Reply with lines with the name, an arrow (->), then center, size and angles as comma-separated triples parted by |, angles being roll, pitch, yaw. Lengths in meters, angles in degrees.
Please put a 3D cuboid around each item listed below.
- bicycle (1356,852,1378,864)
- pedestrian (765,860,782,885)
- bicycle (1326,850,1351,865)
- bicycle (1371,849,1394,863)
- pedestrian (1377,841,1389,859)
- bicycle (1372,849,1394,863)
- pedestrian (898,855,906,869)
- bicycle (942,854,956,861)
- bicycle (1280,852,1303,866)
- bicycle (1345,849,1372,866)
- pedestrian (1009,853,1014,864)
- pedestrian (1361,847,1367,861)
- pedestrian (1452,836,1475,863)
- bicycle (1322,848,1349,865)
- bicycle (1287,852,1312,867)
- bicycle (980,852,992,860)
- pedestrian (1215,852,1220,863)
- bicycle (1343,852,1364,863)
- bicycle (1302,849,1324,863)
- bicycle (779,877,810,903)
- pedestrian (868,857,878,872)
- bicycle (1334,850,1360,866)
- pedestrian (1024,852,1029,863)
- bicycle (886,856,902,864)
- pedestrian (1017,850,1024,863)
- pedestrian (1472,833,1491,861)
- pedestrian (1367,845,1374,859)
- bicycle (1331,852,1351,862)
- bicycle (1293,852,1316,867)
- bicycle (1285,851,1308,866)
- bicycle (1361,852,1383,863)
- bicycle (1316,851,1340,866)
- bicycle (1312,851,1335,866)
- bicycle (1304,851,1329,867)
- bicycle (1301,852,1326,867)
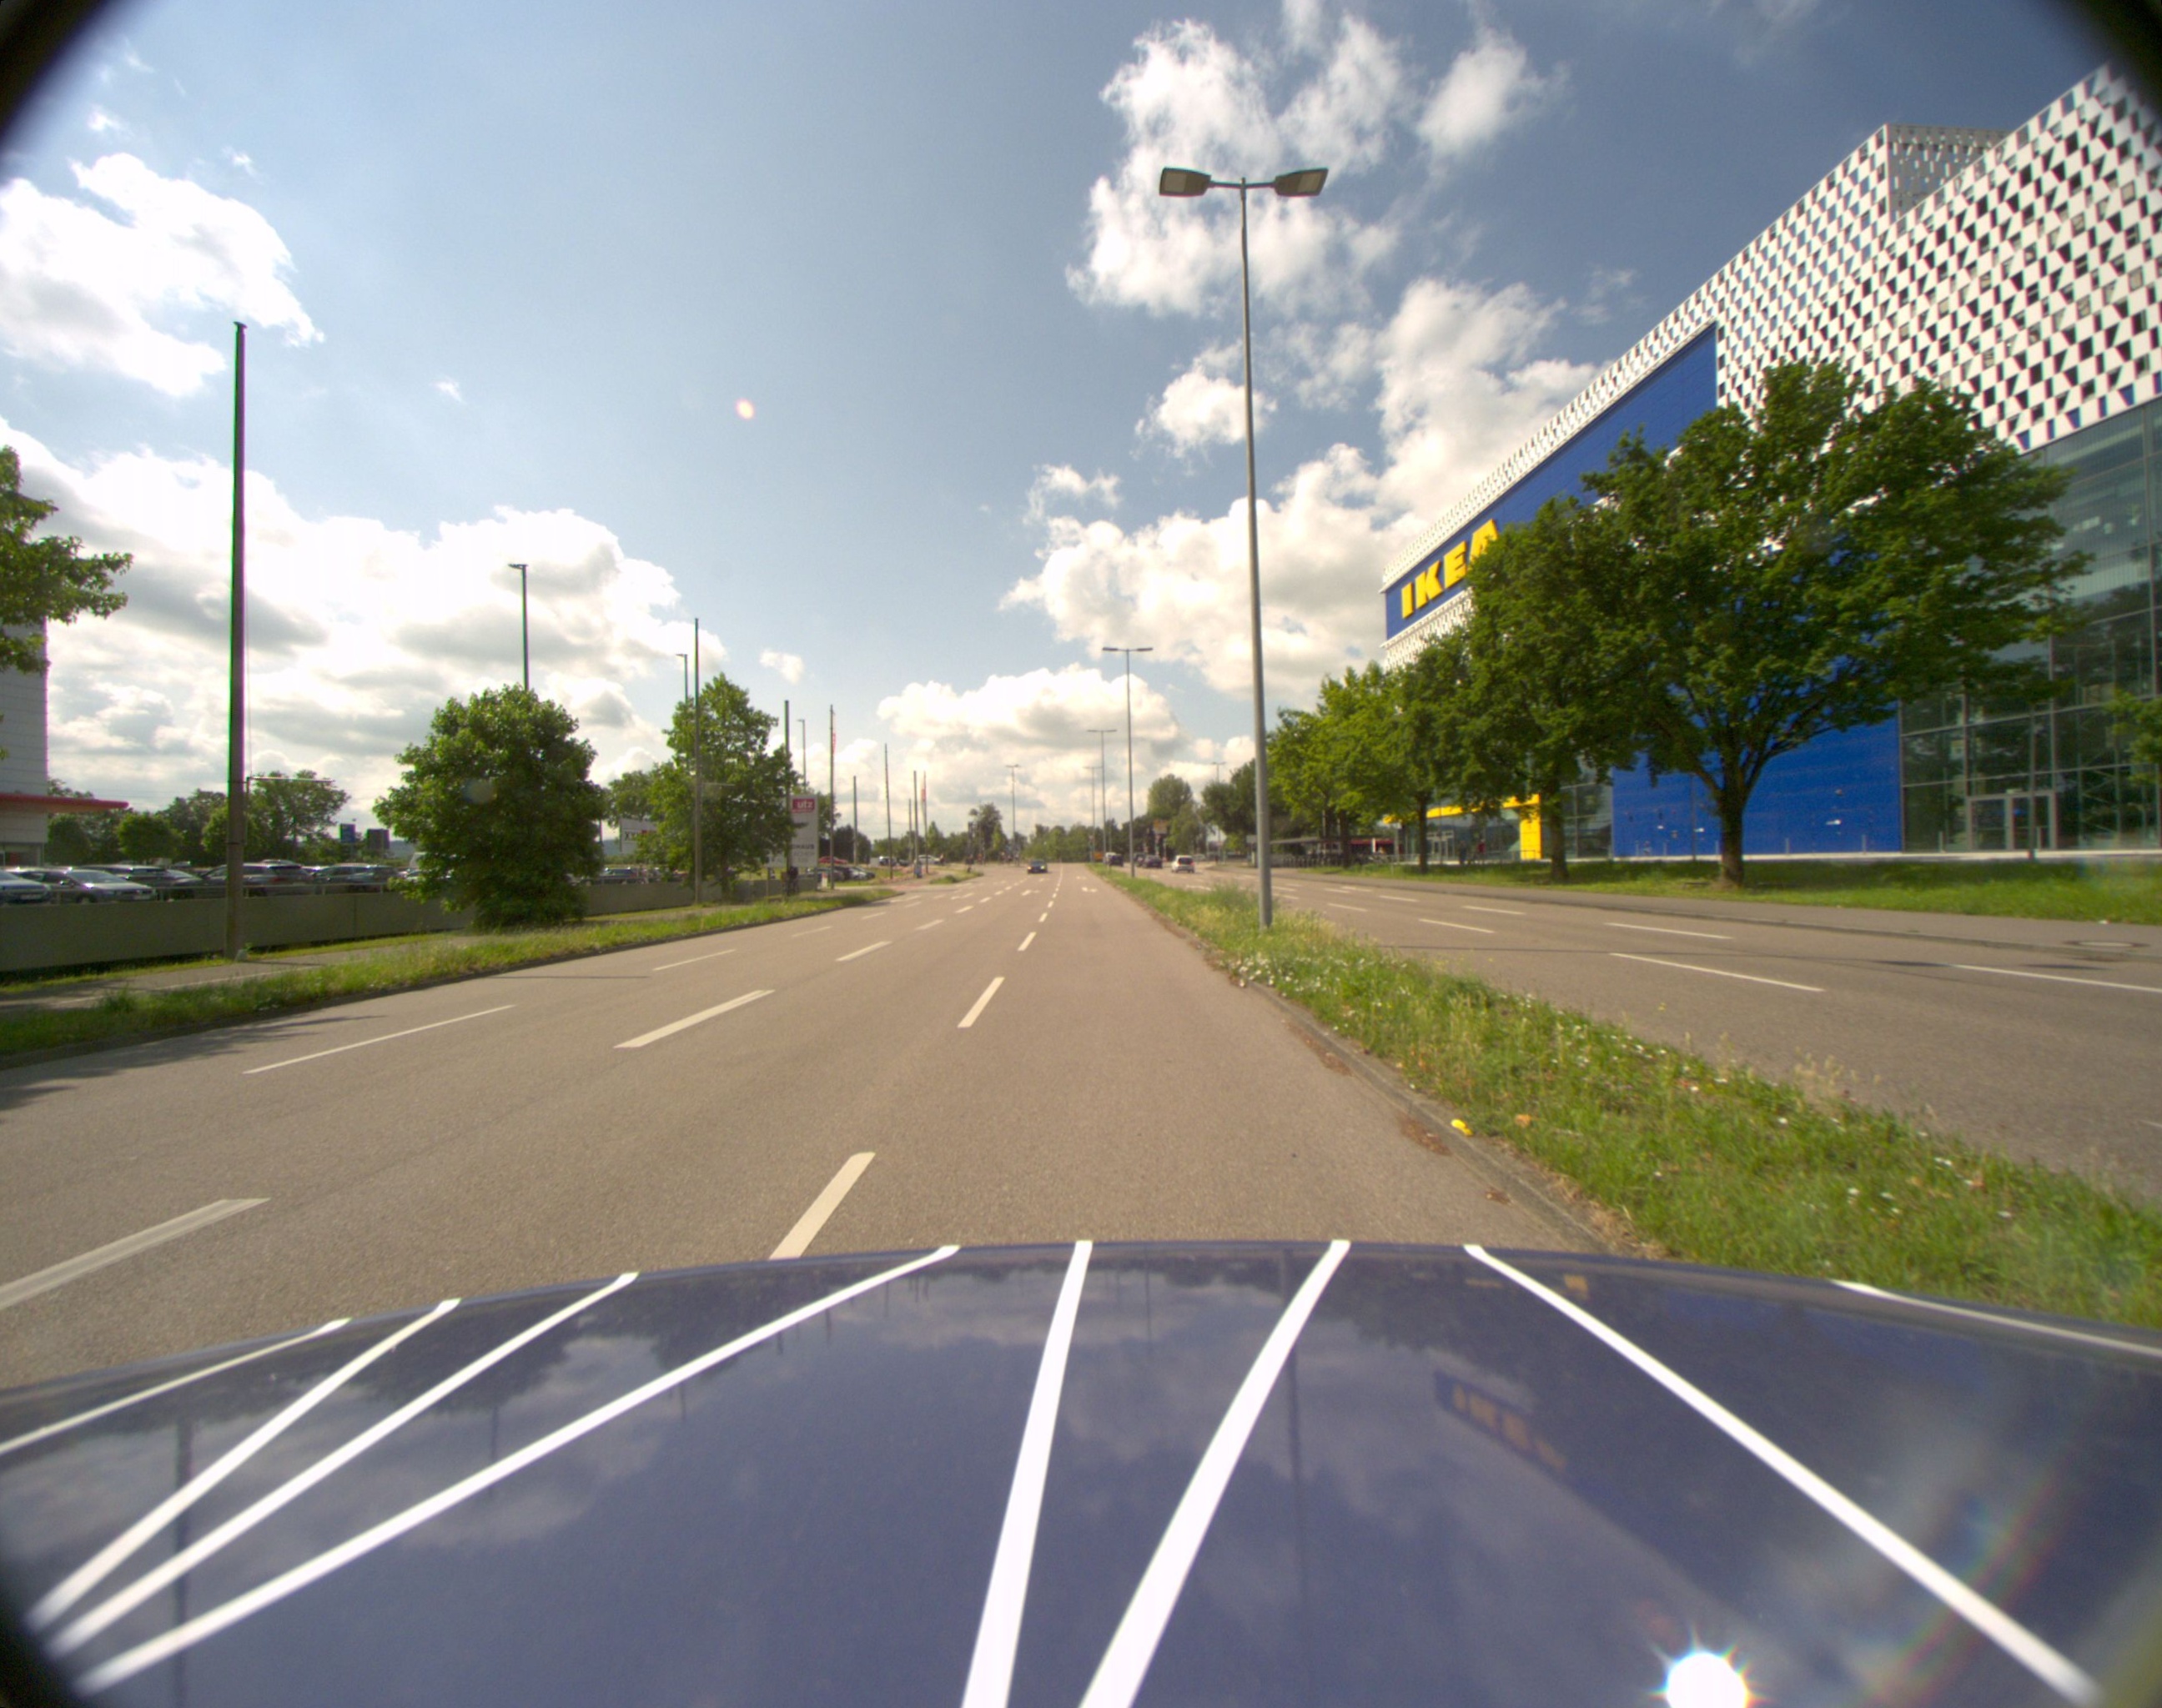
bicycle -> 28.065, 0.369, 74.608 | 1.935, 1.083, 0.520 | -2, 0, -5
pedestrian -> -22.687, 1.356, 56.095 | 0.874, 1.771, 0.782 | -2, 0, -44
bicycle -> 22.426, 0.336, 66.308 | 1.930, 1.265, 0.629 | -2, 0, -1
bicycle -> 28.236, 0.208, 71.234 | 1.950, 1.236, 0.597 | -2, 1, -5
pedestrian -> 30.279, -0.395, 76.265 | 0.898, 1.697, 0.710 | -2, 1, -1
bicycle -> 28.602, 0.180, 71.969 | 1.939, 1.202, 0.529 | -2, 1, -5
pedestrian -> -23.019, 1.076, 97.621 | 0.865, 1.754, 0.863 | 2, -3, -4
bicycle -> -17.973, 0.477, 103.364 | 0.664, 0.955, 1.700 | -2, -1, 43
bicycle -> 20.040, 0.478, 72.270 | 1.930, 1.265, 0.629 | -2, 0, -1
bicycle -> 22.423, 0.278, 61.420 | 1.930, 1.265, 0.629 | -2, 0, -1
pedestrian -> -9.601, 0.665, 105.286 | 0.585, 1.515, 0.469 | -2, 1, 8
pedestrian -> 34.448, 0.053, 92.438 | 0.410, 1.693, 0.516 | -2, 0, -7
pedestrian -> 25.177, -0.279, 50.020 | 0.952, 1.692, 0.887 | -2, 1, -1
bicycle -> 20.195, 0.204, 60.280 | 1.930, 1.265, 0.629 | -2, 0, -1
bicycle -> 20.095, 0.496, 69.921 | 2.094, 1.265, 0.629 | -2, 0, -1
bicycle -> -13.263, 0.262, 106.199 | 1.506, 1.158, 0.620 | -2, -1, -21
pedestrian -> 18.712, 0.489, 103.915 | 0.439, 1.482, 0.619 | -2, 1, -17
bicycle -> 27.720, 0.393, 77.383 | 1.939, 1.064, 0.529 | -2, 1, -5
bicycle -> 22.081, 0.165, 72.309 | 1.930, 1.265, 0.629 | -2, 0, -1
bicycle -> -12.467, 1.542, 33.139 | 0.625, 1.061, 1.968 | -1, 0, 0
pedestrian -> -26.770, 1.338, 97.708 | 0.820, 1.792, 0.761 | -1, 1, 26
bicycle -> 22.340, 0.330, 63.837 | 1.930, 1.265, 0.629 | -2, 0, -1
pedestrian -> -7.684, 0.430, 106.551 | 0.556, 1.515, 0.470 | -2, 0, 8
bicycle -> -24.507, 0.821, 99.760 | 1.989, 0.955, 0.596 | -2, 0, -15
pedestrian -> -8.341, 0.342, 104.624 | 0.688, 1.718, 0.701 | -1, 2, 11
pedestrian -> 26.486, -0.432, 50.271 | 0.755, 1.812, 0.887 | -2, 1, -1
pedestrian -> 35.407, -0.193, 92.897 | 0.528, 1.693, 0.410 | -2, 0, -10
bicycle -> 27.419, 0.330, 80.185 | 1.940, 1.064, 0.528 | -2, 1, -7
bicycle -> 20.179, 0.463, 68.628 | 1.930, 1.265, 0.629 | -2, 0, -1
bicycle -> 20.097, 0.412, 70.924 | 1.930, 1.265, 0.629 | -2, 0, -1
bicycle -> 28.142, 0.348, 73.471 | 1.939, 1.064, 0.529 | -2, 1, -5
bicycle -> 22.285, 0.425, 68.681 | 1.930, 1.265, 0.629 | -2, 0, -1
bicycle -> 22.324, 0.415, 70.005 | 1.930, 1.265, 0.629 | -2, 0, -1
bicycle -> 20.225, 0.433, 65.185 | 1.930, 1.265, 0.629 | -2, 0, -1
bicycle -> 20.274, 0.478, 66.257 | 1.930, 1.265, 0.629 | -2, 0, -1
